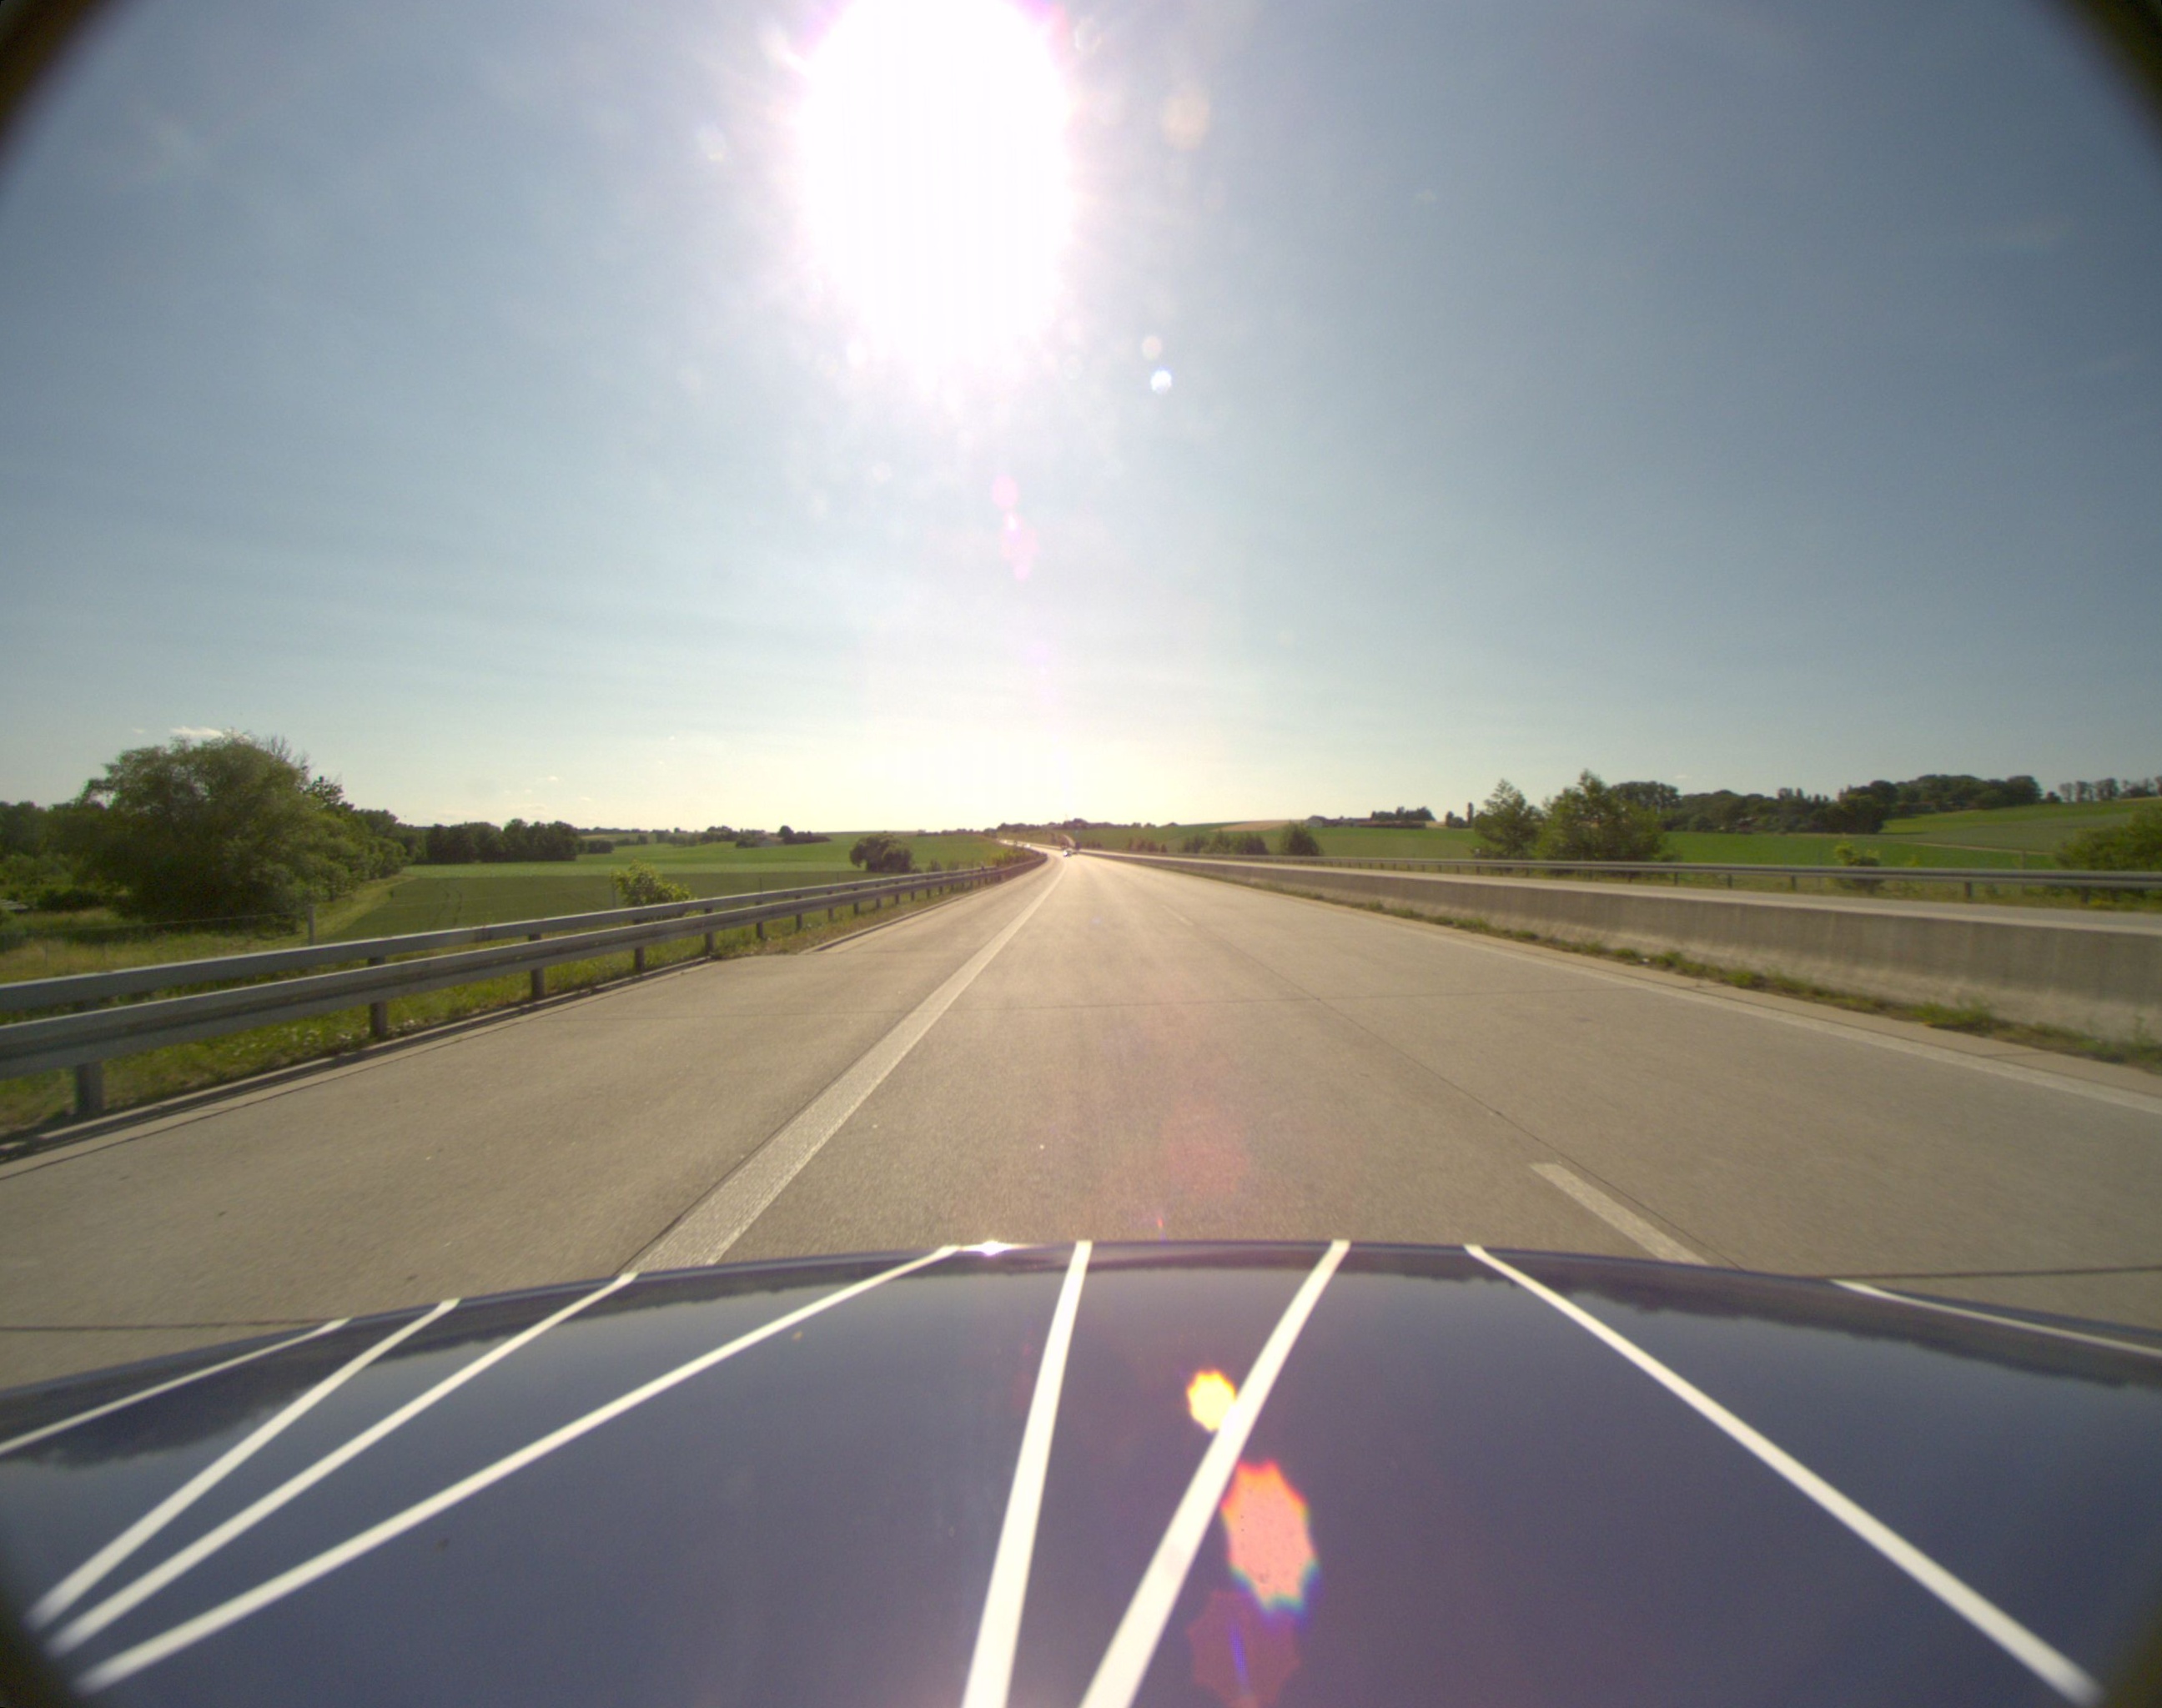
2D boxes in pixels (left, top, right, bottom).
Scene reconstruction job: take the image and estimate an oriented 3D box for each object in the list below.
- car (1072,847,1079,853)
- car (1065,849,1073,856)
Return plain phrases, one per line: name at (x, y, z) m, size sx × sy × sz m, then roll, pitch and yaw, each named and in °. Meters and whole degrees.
car at (-1.678, -1.298, 230.421) m, size 1.715 × 1.580 × 4.624 m, roll -2°, pitch 2°, yaw -3°
car at (-3.073, -0.440, 193.494) m, size 1.715 × 1.580 × 4.625 m, roll -2°, pitch 2°, yaw -1°
